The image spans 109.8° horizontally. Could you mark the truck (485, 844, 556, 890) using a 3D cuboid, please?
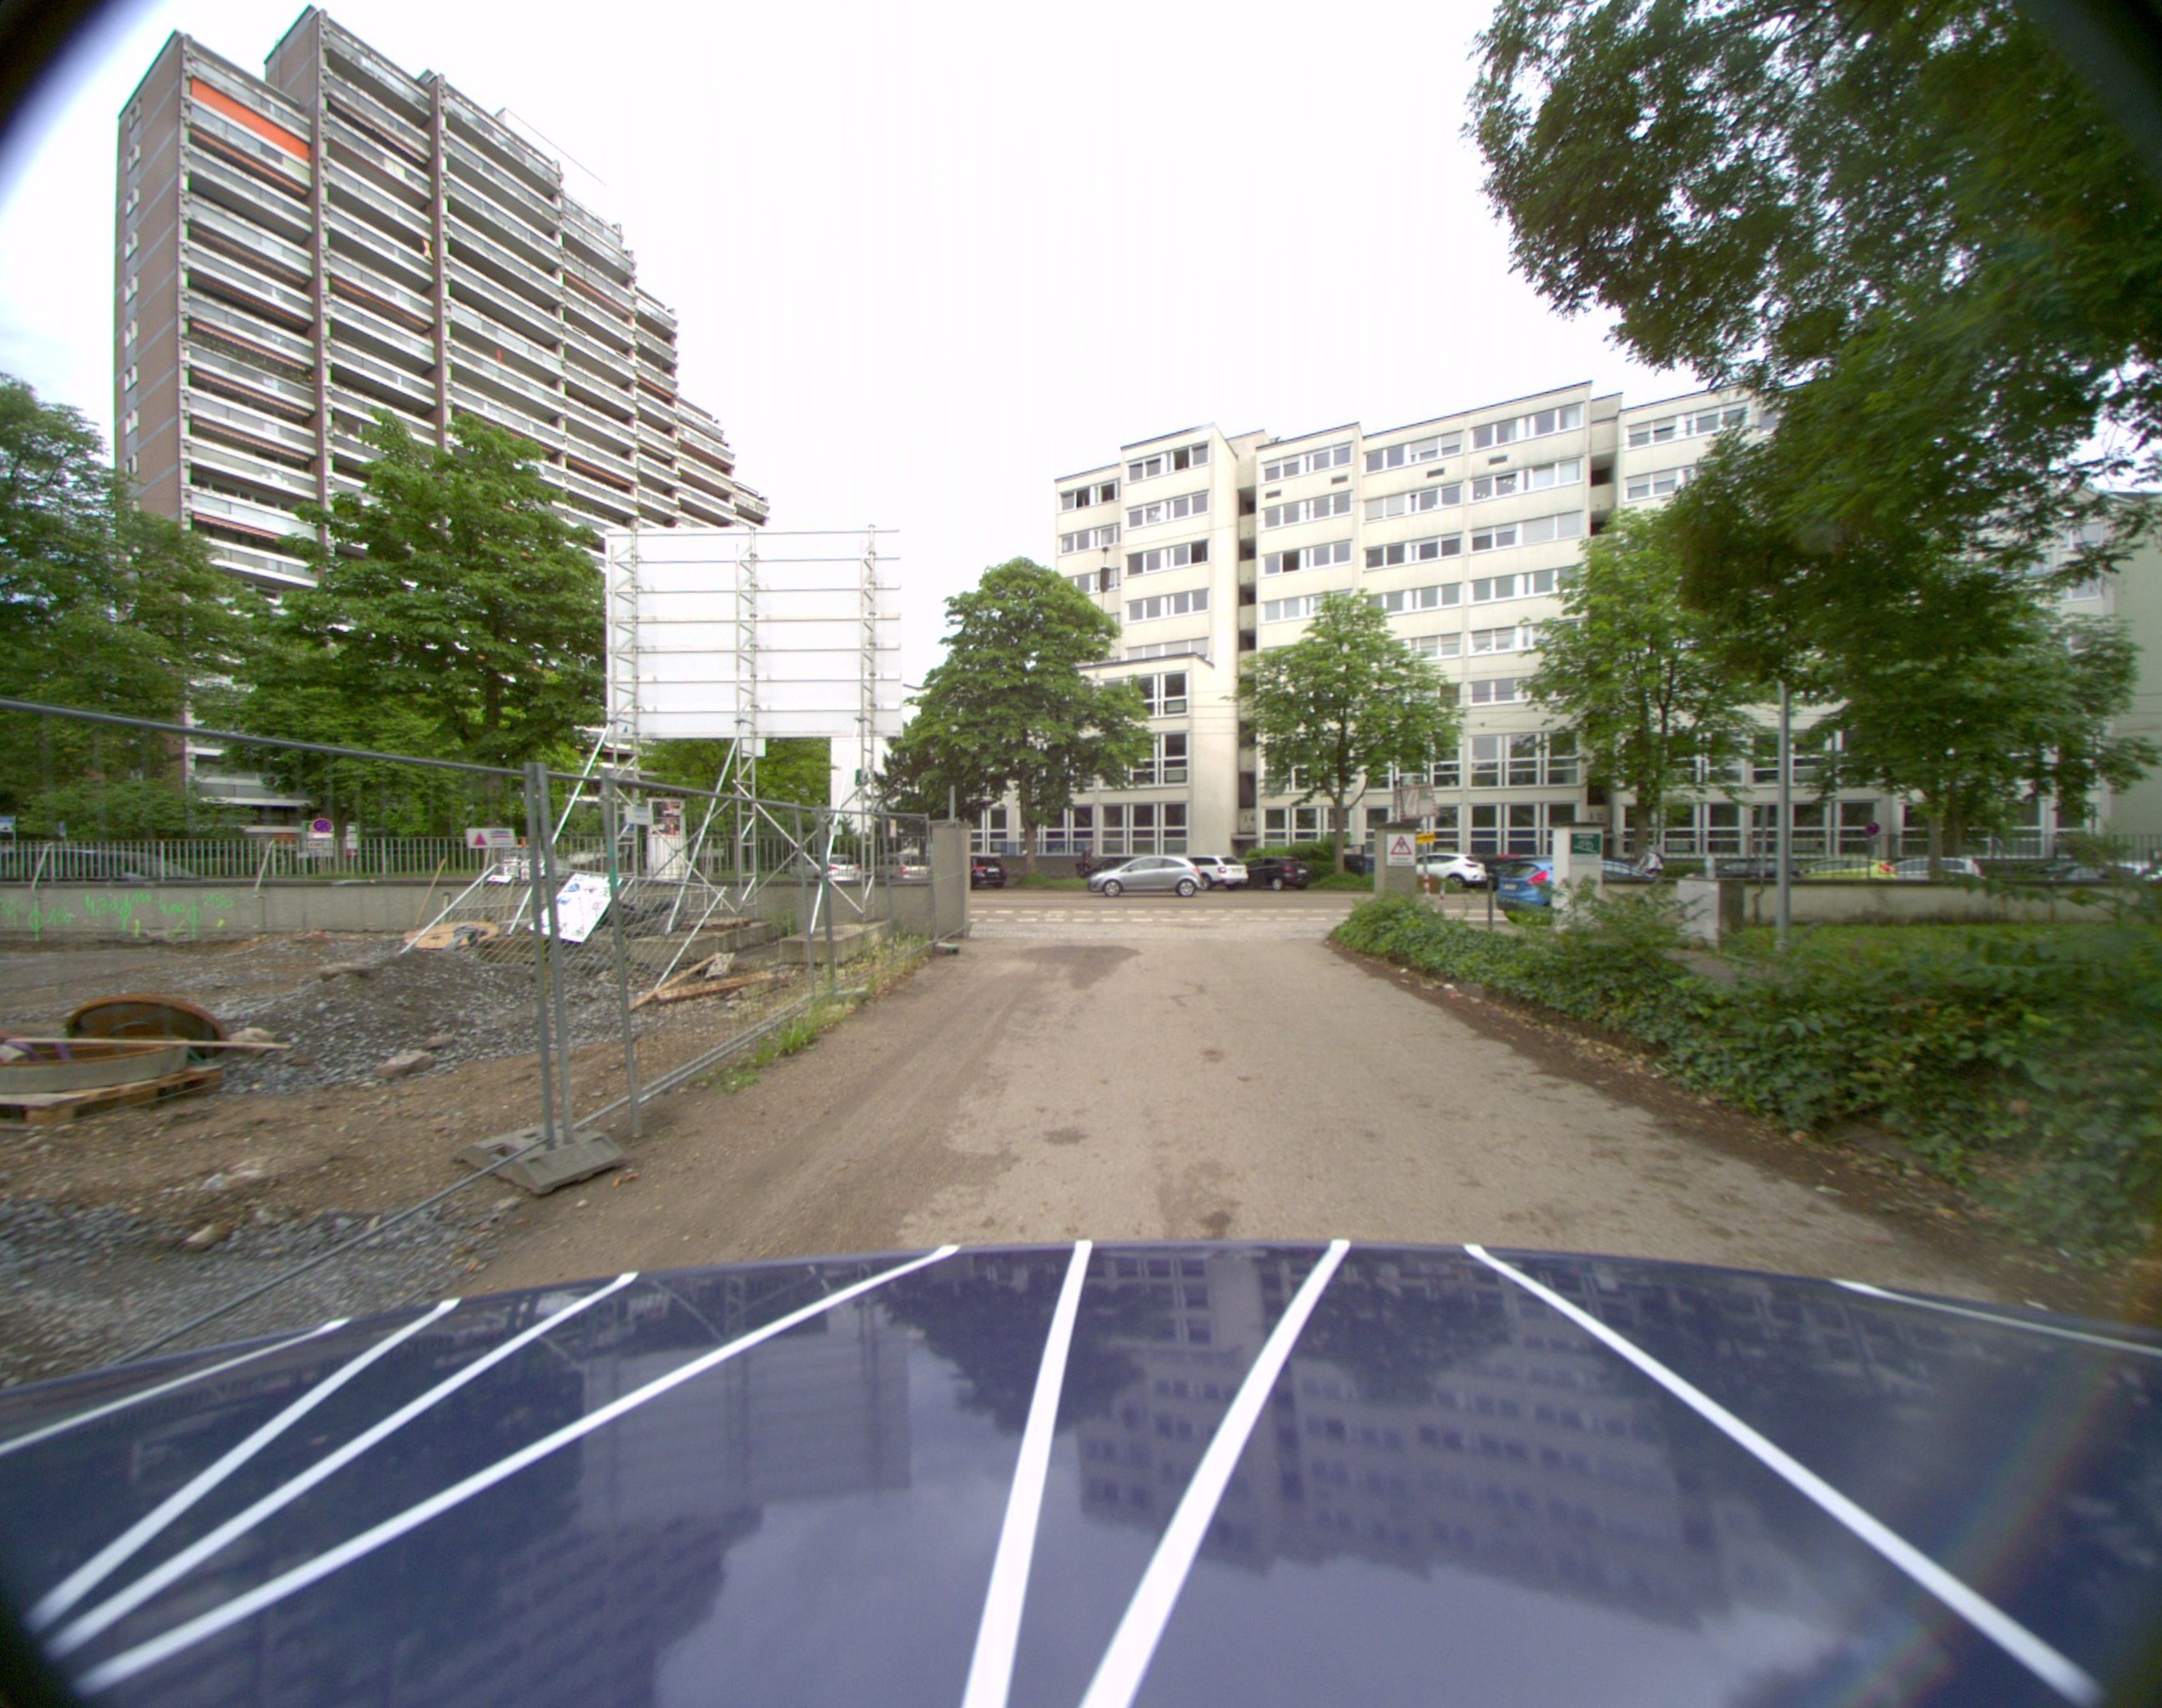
[{"bbox_3d":[-25.000,0.498,33.832,2.004,1.838,5.049,-2,2,-42],"label":"truck"}]

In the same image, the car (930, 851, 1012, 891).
[{"bbox_3d":[-4.777,0.686,32.615,1.703,1.515,3.694,-2,3,-42],"label":"car"}]

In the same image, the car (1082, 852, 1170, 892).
[{"bbox_3d":[1.894,0.739,32.997,1.703,1.515,3.694,-2,3,-42],"label":"car"}]

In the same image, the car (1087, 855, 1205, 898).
[{"bbox_3d":[2.229,0.775,26.642,3.996,1.420,1.746,0,0,2],"label":"car"}]

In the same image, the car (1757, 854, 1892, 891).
[{"bbox_3d":[31.259,0.728,32.014,1.703,1.344,3.956,-2,3,-43],"label":"car"}]

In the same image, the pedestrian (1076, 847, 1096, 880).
[{"bbox_3d":[0.274,0.477,39.001,0.753,1.603,0.735,2,3,23],"label":"pedestrian"}]

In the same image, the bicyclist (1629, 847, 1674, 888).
[{"bbox_3d":[21.078,0.500,28.101,1.026,1.491,0.846,0,0,3],"label":"bicyclist"}]

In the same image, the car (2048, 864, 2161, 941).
[{"bbox_3d":[23.193,0.985,16.022,3.562,1.473,1.480,0,2,1],"label":"car"}]

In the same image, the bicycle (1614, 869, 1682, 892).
[{"bbox_3d":[21.068,0.976,28.238,2.136,0.864,0.471,0,0,3],"label":"bicycle"}]

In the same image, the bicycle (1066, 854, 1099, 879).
[{"bbox_3d":[0.085,0.618,38.424,1.593,1.261,0.406,0,1,11],"label":"bicycle"}]

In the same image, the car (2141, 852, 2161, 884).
[{"bbox_3d":[47.830,0.646,31.780,1.702,1.378,3.712,-1,2,-22],"label":"car"}]

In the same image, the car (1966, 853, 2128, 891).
[{"bbox_3d":[39.435,0.703,31.188,1.703,1.344,3.956,-2,3,-43],"label":"car"}]

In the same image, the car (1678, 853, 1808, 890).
[{"bbox_3d":[27.959,0.695,32.191,1.703,1.344,3.956,-2,3,-43],"label":"car"}]

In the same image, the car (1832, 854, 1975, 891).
[{"bbox_3d":[34.291,0.720,31.828,1.703,1.344,3.956,-2,3,-43],"label":"car"}]

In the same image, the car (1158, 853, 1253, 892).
[{"bbox_3d":[5.292,0.736,32.688,1.703,1.476,4.017,-1,2,-36],"label":"car"}]

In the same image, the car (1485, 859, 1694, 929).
[{"bbox_3d":[10.984,0.848,16.596,3.429,1.452,1.680,0,-1,1],"label":"car"}]

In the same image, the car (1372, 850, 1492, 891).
[{"bbox_3d":[14.968,0.646,32.561,4.333,1.547,1.703,2,3,43],"label":"car"}]

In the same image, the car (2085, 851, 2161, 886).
[{"bbox_3d":[44.944,0.626,31.467,1.702,1.378,3.712,-1,2,-22],"label":"car"}]

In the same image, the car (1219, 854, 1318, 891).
[{"bbox_3d":[8.038,0.758,32.919,1.703,1.398,4.017,-1,2,-36],"label":"car"}]

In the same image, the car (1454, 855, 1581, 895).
[{"bbox_3d":[18.350,0.839,32.092,1.703,1.446,4.333,-2,3,-43],"label":"car"}]

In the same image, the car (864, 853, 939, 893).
[{"bbox_3d":[-7.796,0.770,32.789,1.576,1.515,3.640,-2,3,-42],"label":"car"}]

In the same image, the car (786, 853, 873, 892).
[{"bbox_3d":[-11.024,0.755,33.183,4.418,1.456,1.807,2,2,45],"label":"car"}]
